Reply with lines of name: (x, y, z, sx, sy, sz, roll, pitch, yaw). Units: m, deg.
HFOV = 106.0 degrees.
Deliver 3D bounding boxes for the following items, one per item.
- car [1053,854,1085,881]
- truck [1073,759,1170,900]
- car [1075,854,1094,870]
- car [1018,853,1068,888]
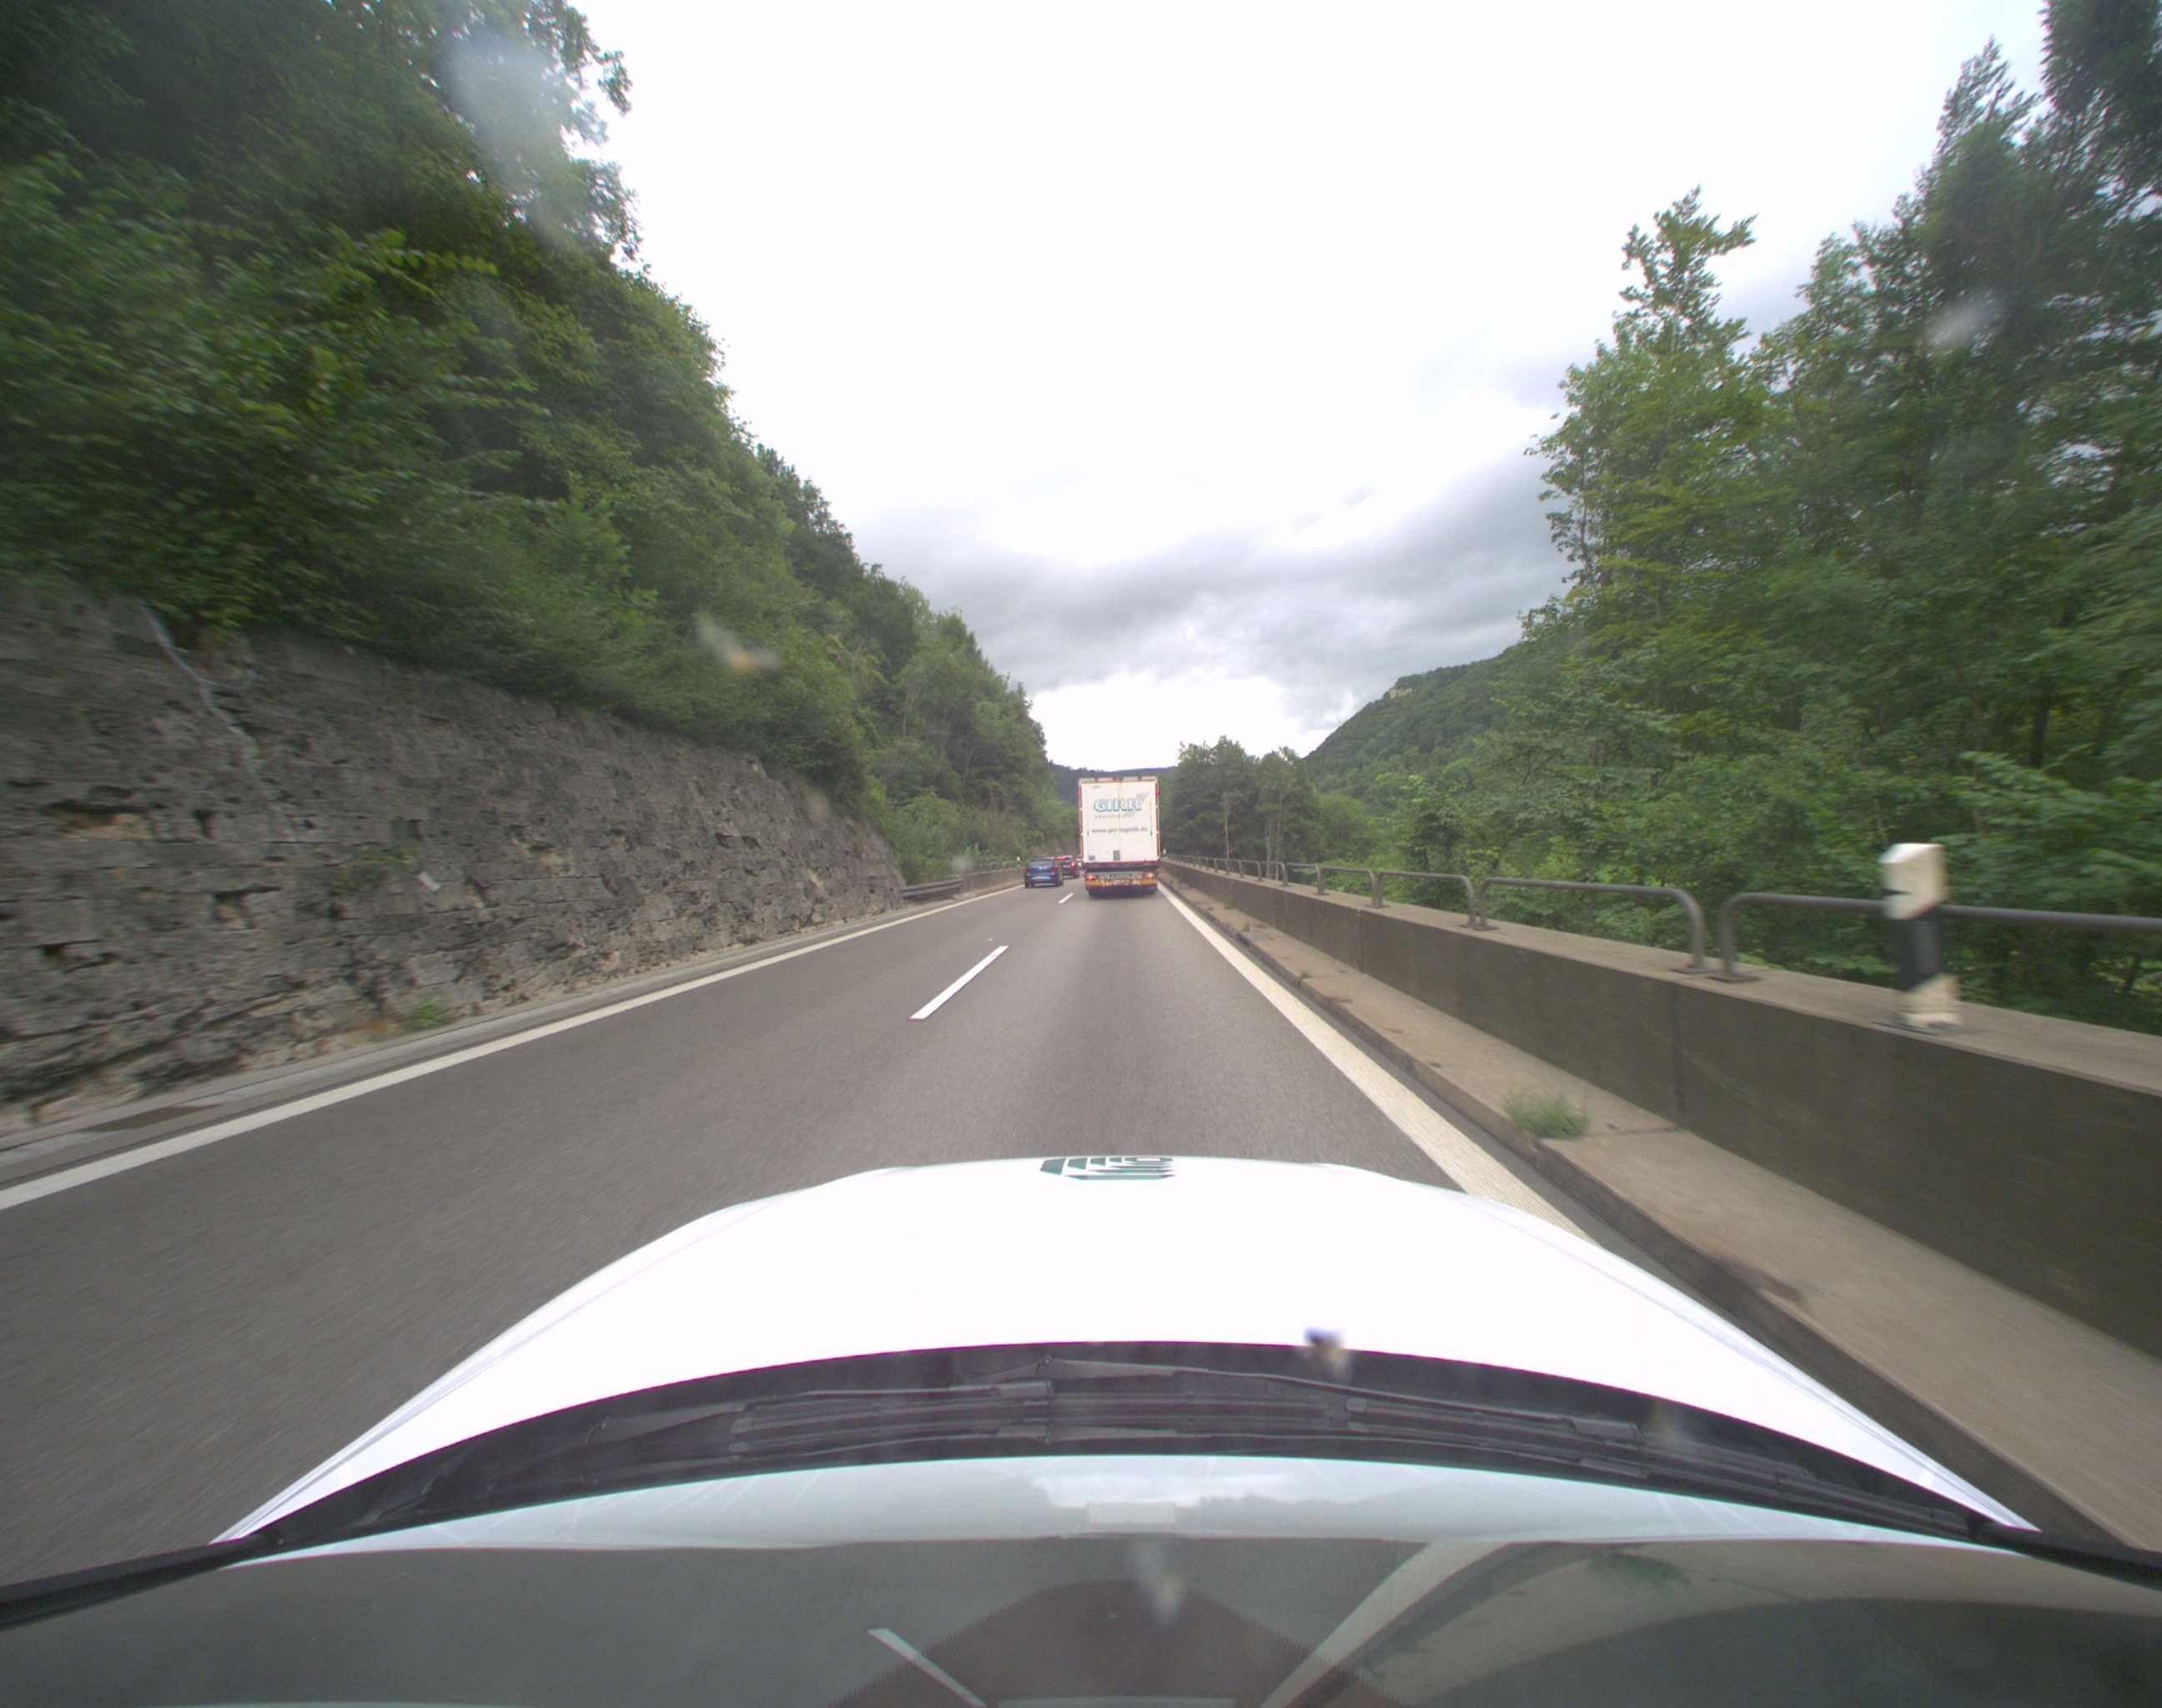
car: (-0.728, 0.844, 52.023, 1.738, 1.587, 4.002, -2, 0, 2)
truck: (1.699, -0.930, 33.544, 3.071, 4.463, 15.169, -1, 1, 3)
car: (0.347, 0.833, 81.164, 1.738, 1.486, 4.002, -2, -1, 2)
car: (-1.832, 0.776, 40.269, 1.985, 1.596, 4.357, -2, 0, 3)
